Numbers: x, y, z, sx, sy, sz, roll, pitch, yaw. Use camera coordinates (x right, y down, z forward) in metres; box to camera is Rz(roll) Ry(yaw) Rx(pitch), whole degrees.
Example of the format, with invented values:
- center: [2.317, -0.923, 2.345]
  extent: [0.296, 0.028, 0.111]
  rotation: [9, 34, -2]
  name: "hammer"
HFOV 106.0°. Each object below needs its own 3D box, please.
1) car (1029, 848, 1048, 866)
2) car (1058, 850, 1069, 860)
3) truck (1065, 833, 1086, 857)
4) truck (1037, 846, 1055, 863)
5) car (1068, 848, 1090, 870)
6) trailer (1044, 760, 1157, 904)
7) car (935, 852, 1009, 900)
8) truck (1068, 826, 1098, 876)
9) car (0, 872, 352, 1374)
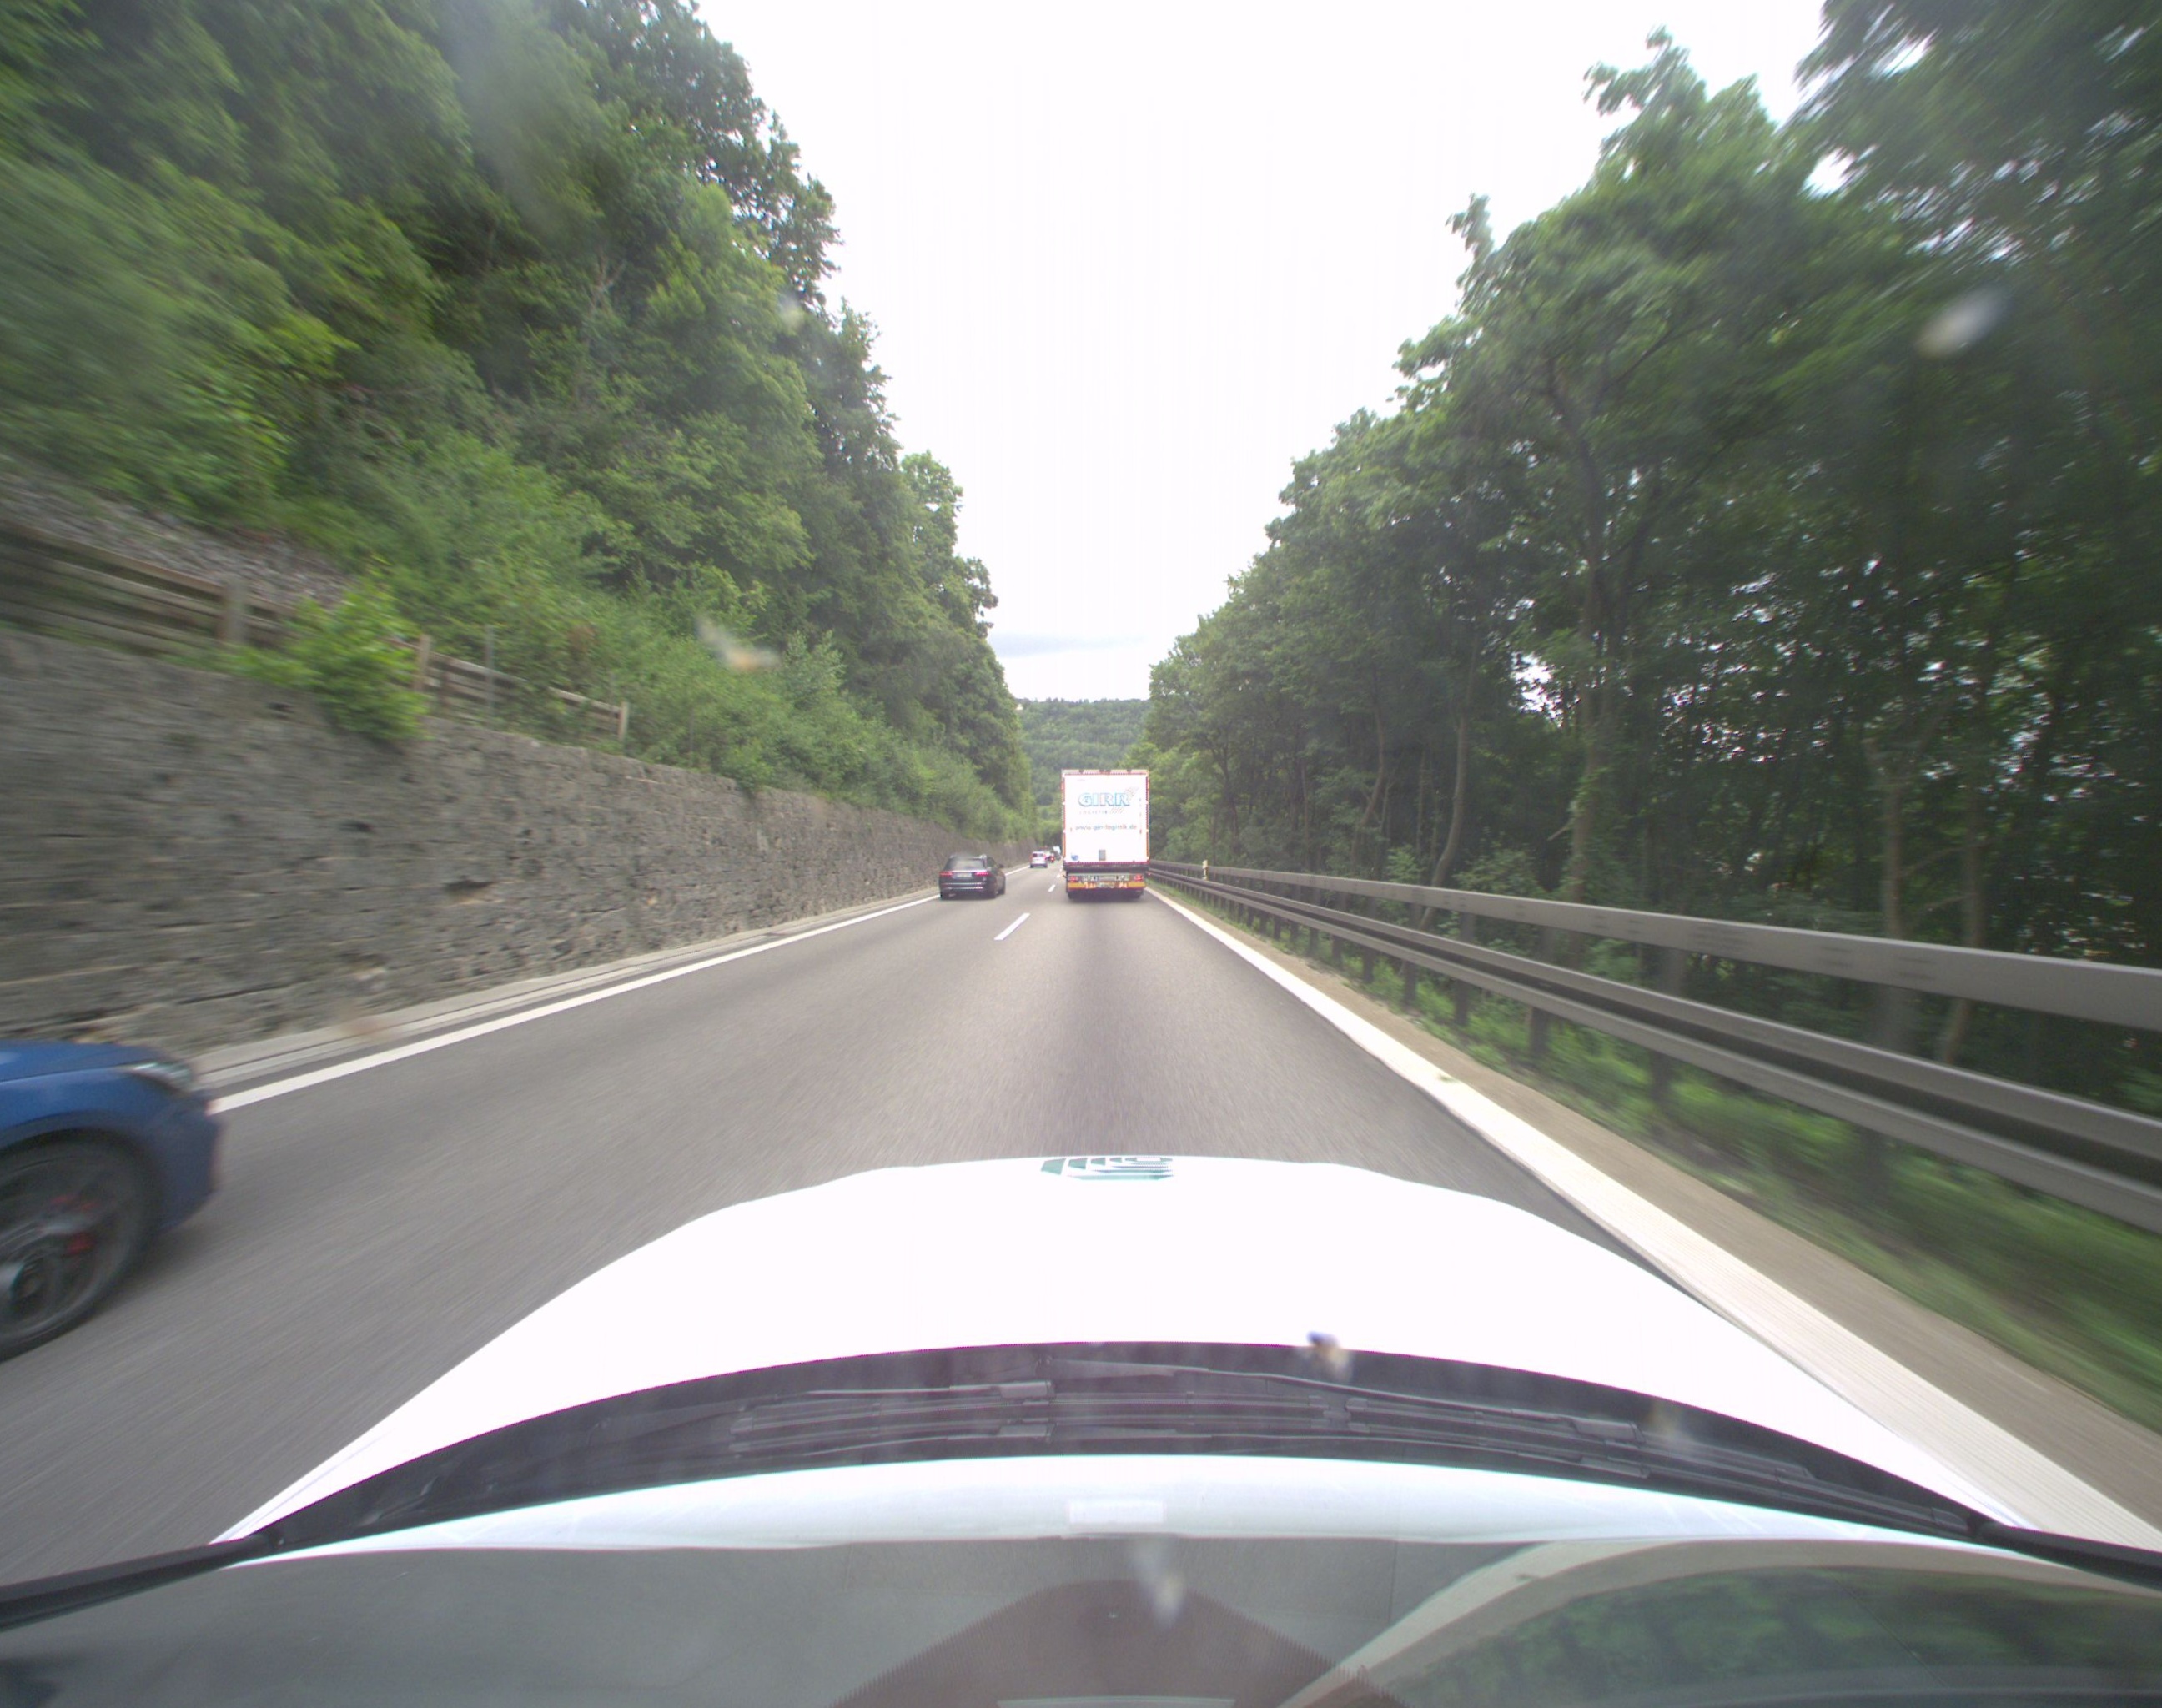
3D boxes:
- center: [-4.222, 0.332, 81.616]
  extent: [1.629, 1.726, 4.343]
  rotation: [0, 0, -1]
  name: "car"
- center: [-3.602, 0.166, 166.903]
  extent: [1.987, 2.014, 3.999]
  rotation: [2, 0, 0]
  name: "car"
- center: [-1.029, -1.524, 140.890]
  extent: [3.062, 3.877, 8.448]
  rotation: [2, 0, -3]
  name: "truck"
- center: [-4.960, 0.039, 115.501]
  extent: [2.343, 2.274, 6.844]
  rotation: [2, 0, -2]
  name: "truck"
- center: [-0.235, 0.496, 77.861]
  extent: [1.988, 2.014, 4.330]
  rotation: [2, 0, -2]
  name: "car"
- center: [0.567, -0.670, 28.423]
  extent: [3.123, 4.042, 9.438]
  rotation: [3, 0, 0]
  name: "trailer"
- center: [-3.701, 0.695, 28.486]
  extent: [1.754, 1.463, 5.124]
  rotation: [0, 0, 2]
  name: "car"
- center: [0.103, -0.214, 67.151]
  extent: [2.227, 3.804, 6.819]
  rotation: [2, 0, -1]
  name: "truck"
- center: [-4.163, 0.812, 1.288]
  extent: [1.829, 1.469, 4.556]
  rotation: [0, 0, 1]
  name: "car"
